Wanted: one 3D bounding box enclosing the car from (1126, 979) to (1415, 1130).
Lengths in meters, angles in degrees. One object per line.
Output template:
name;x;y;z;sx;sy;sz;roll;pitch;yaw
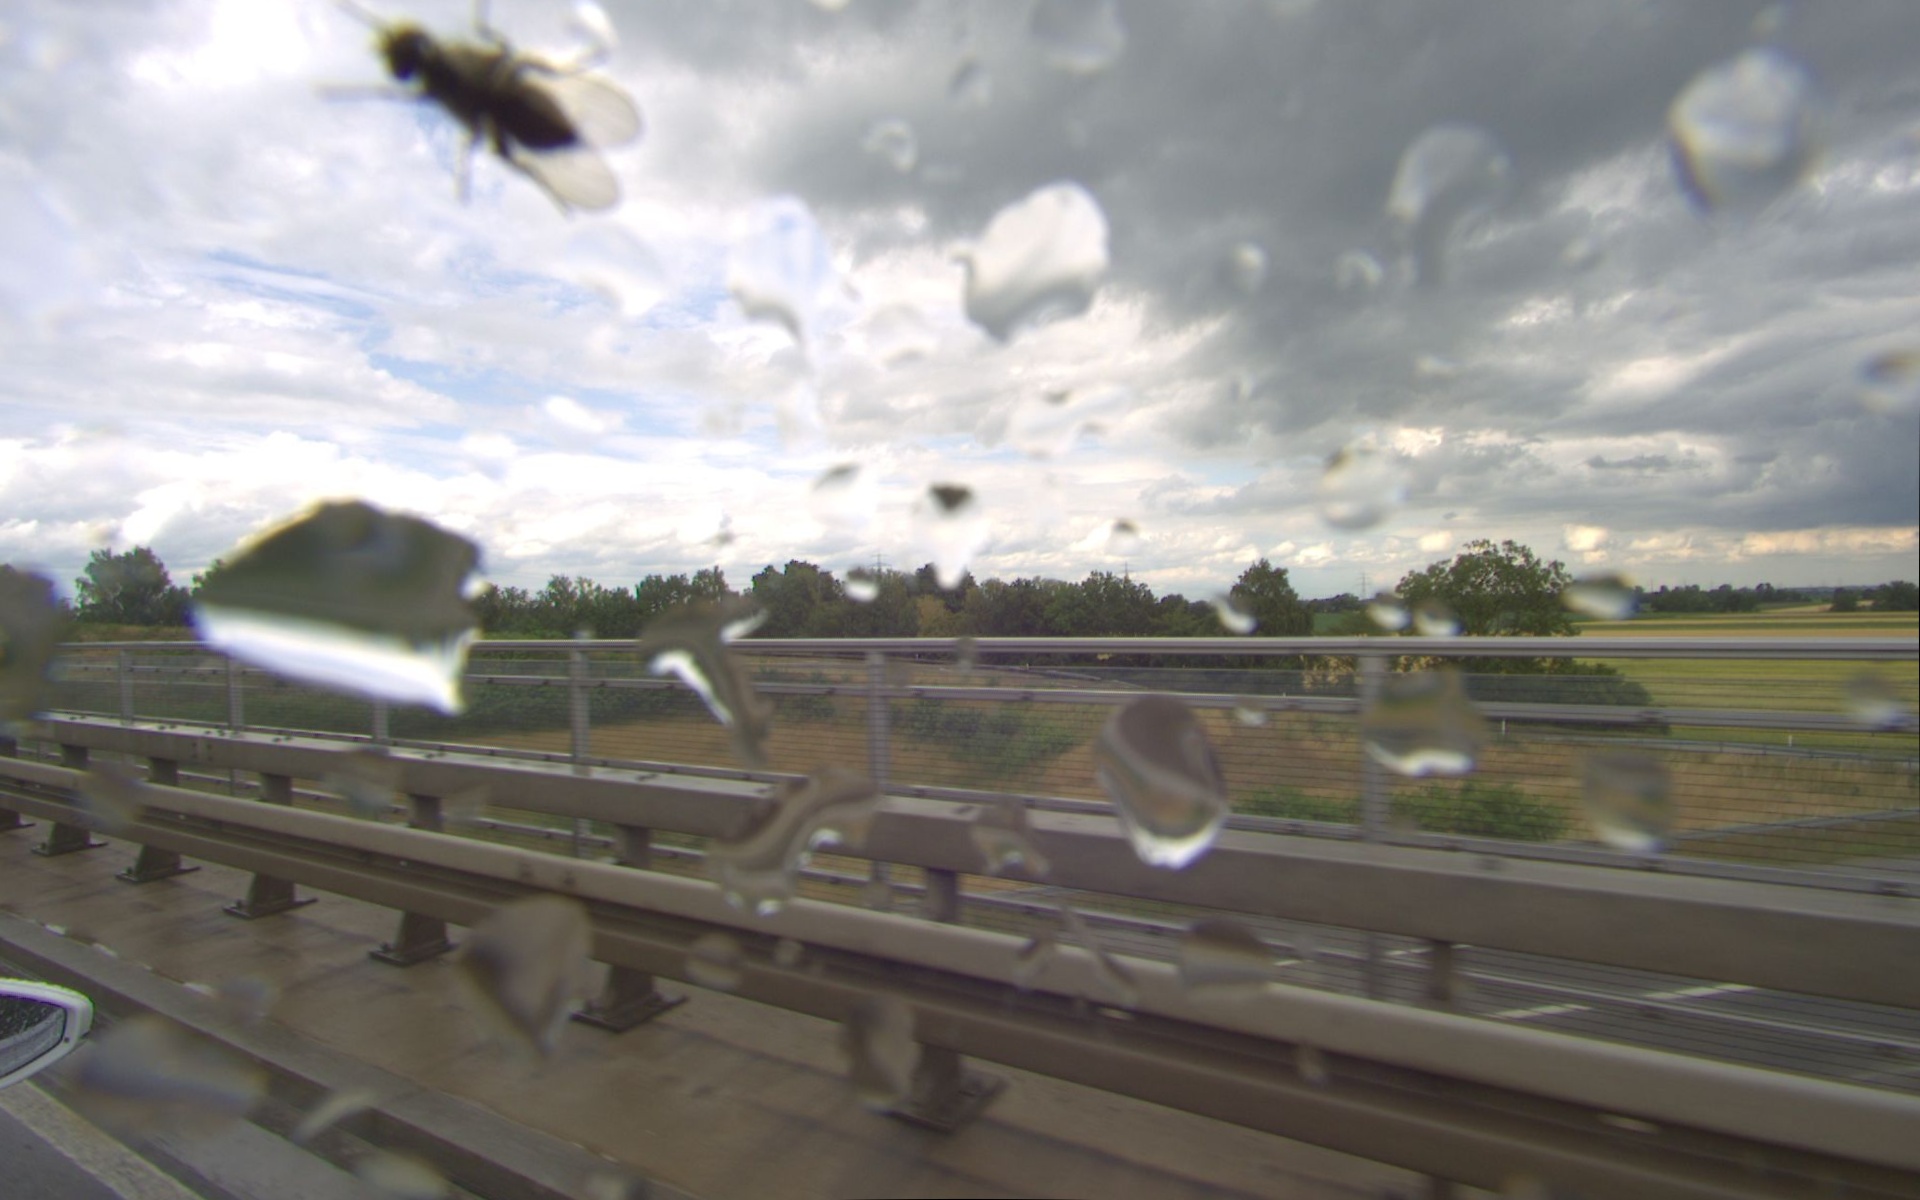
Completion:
car;5.505;8.108;18.068;4.634;1.690;1.815;0;-2;-7
